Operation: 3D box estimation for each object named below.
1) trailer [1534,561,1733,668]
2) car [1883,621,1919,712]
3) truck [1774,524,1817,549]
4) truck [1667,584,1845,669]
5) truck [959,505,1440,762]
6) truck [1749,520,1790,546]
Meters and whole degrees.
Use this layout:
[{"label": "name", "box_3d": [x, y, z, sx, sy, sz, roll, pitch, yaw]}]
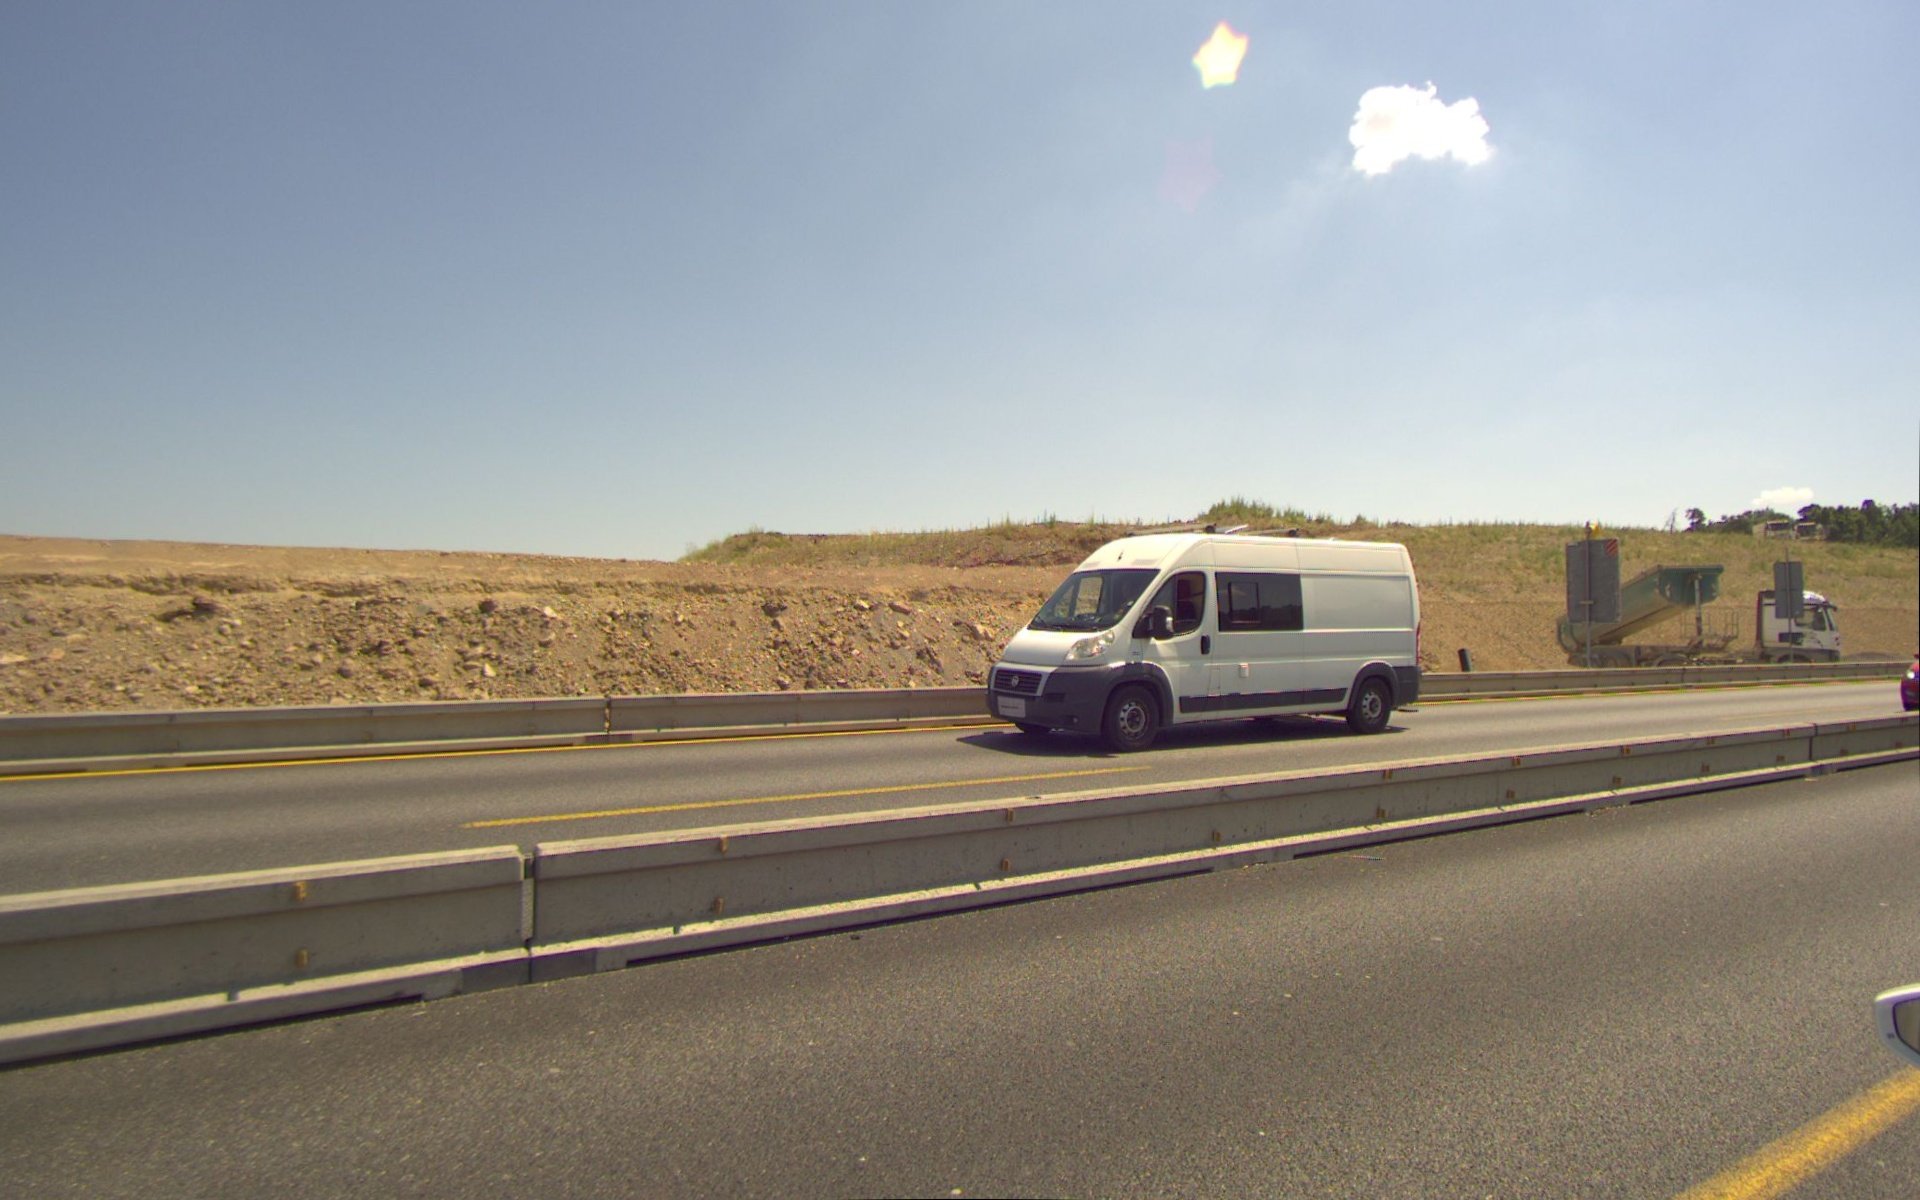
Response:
[{"label": "trailer", "box_3d": [28.993, 0.588, 43.851, 2.745, 4.152, 8.367, 1, 0, -2]}, {"label": "car", "box_3d": [18.042, 1.179, 17.624, 4.006, 1.504, 1.619, 2, 0, -30]}, {"label": "truck", "box_3d": [118.535, -8.948, 142.642, 2.259, 2.785, 8.900, 1, 0, 24]}, {"label": "truck", "box_3d": [30.641, 0.980, 38.908, 4.971, 3.003, 2.582, 2, 0, 30]}, {"label": "truck", "box_3d": [3.202, 0.304, 12.696, 6.281, 2.604, 2.087, 0, 1, -31]}, {"label": "truck", "box_3d": [111.782, -9.248, 138.838, 2.317, 2.937, 8.362, 1, 0, 24]}]
